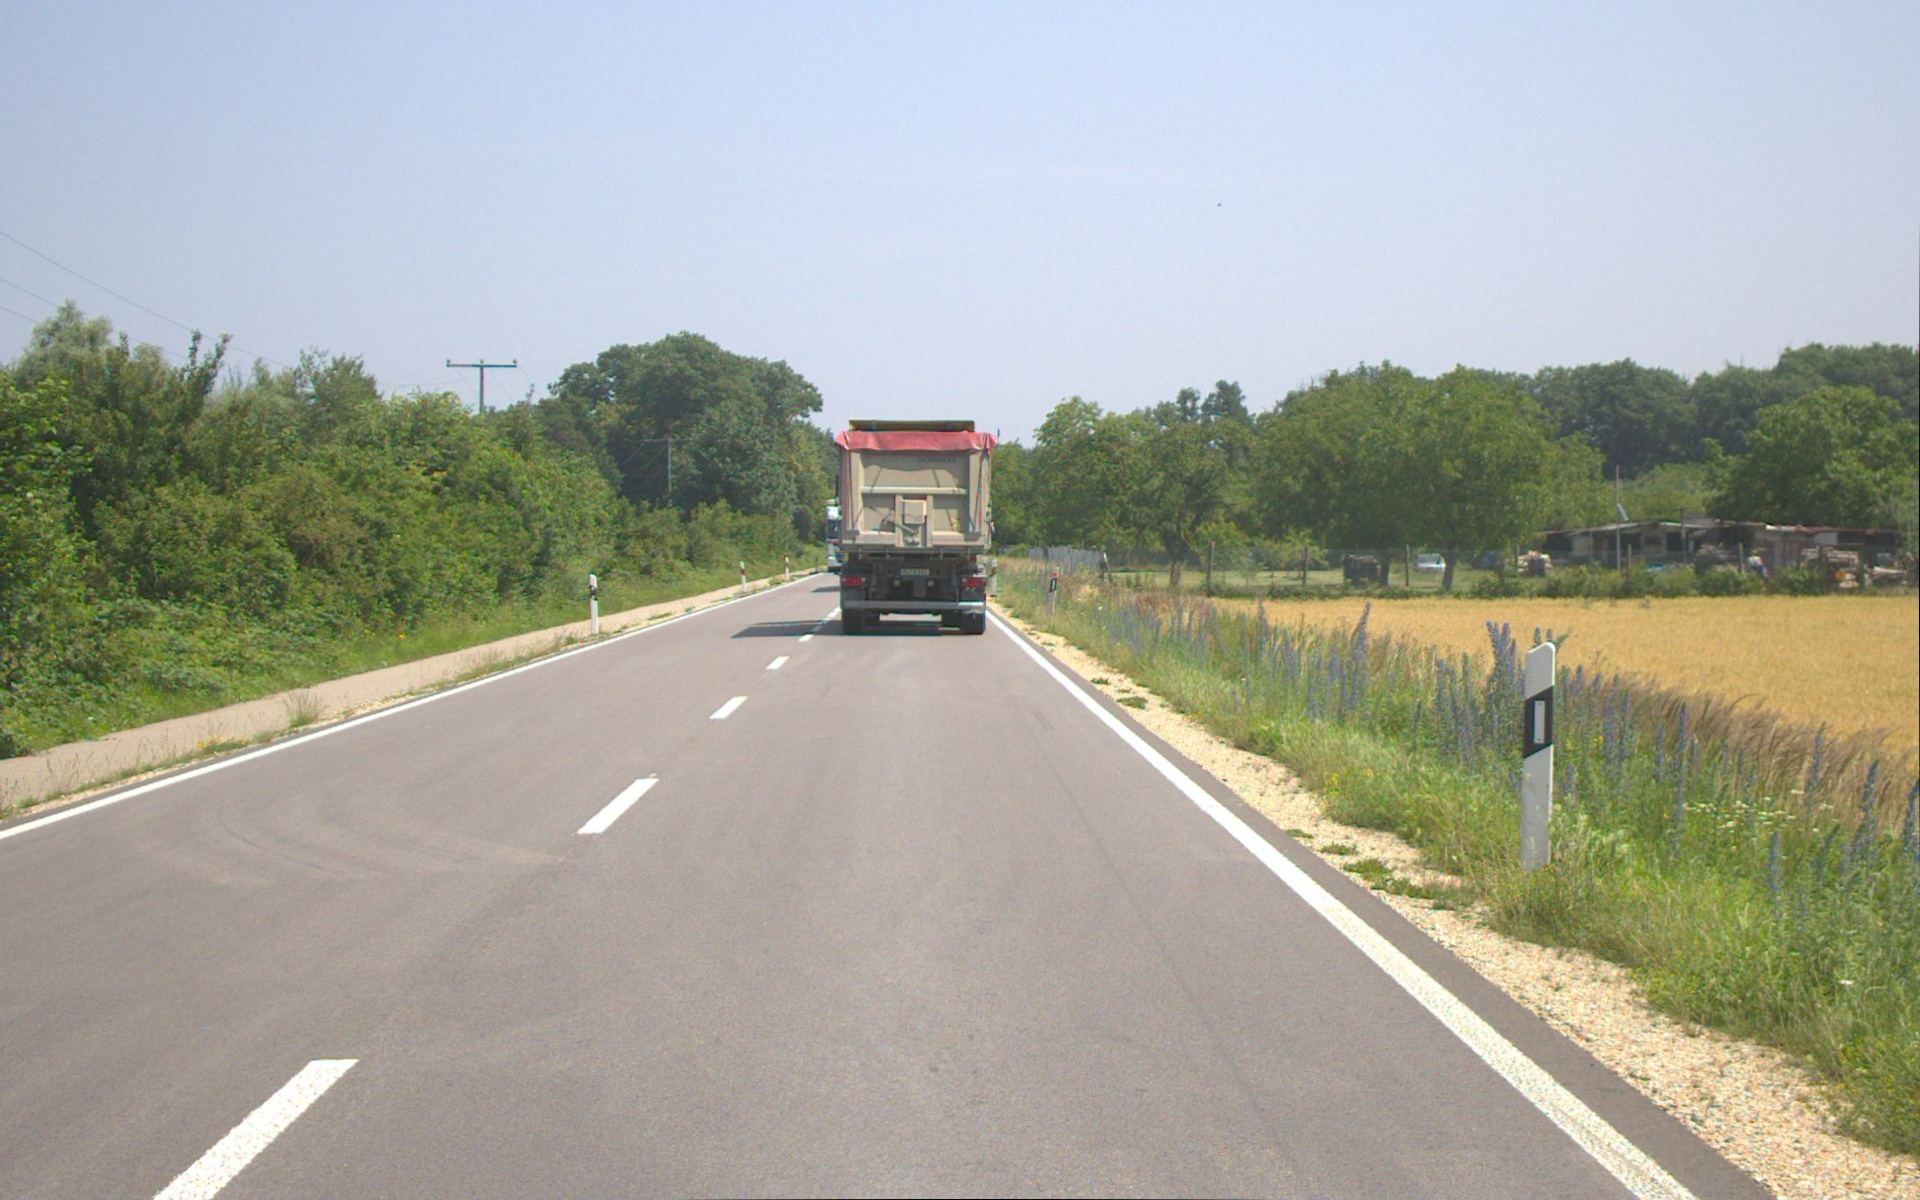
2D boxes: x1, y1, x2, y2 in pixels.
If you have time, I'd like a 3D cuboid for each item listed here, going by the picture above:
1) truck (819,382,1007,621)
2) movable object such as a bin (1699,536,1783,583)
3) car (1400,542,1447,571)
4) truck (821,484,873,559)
[{"bbox_3d":[-0.868,-1.702,62.832,3.009,3.861,12.210,1,1,-1],"label":"truck"},{"bbox_3d":[25.061,-1.314,110.381,1.570,1.491,3.660,0,1,-5],"label":"movable object such as a bin"},{"bbox_3d":[24.625,-2.295,182.734,1.592,1.481,3.429,0,2,-8],"label":"car"},{"bbox_3d":[-6.618,-4.599,202.094,2.717,4.251,7.390,-2,1,-1],"label":"truck"}]
